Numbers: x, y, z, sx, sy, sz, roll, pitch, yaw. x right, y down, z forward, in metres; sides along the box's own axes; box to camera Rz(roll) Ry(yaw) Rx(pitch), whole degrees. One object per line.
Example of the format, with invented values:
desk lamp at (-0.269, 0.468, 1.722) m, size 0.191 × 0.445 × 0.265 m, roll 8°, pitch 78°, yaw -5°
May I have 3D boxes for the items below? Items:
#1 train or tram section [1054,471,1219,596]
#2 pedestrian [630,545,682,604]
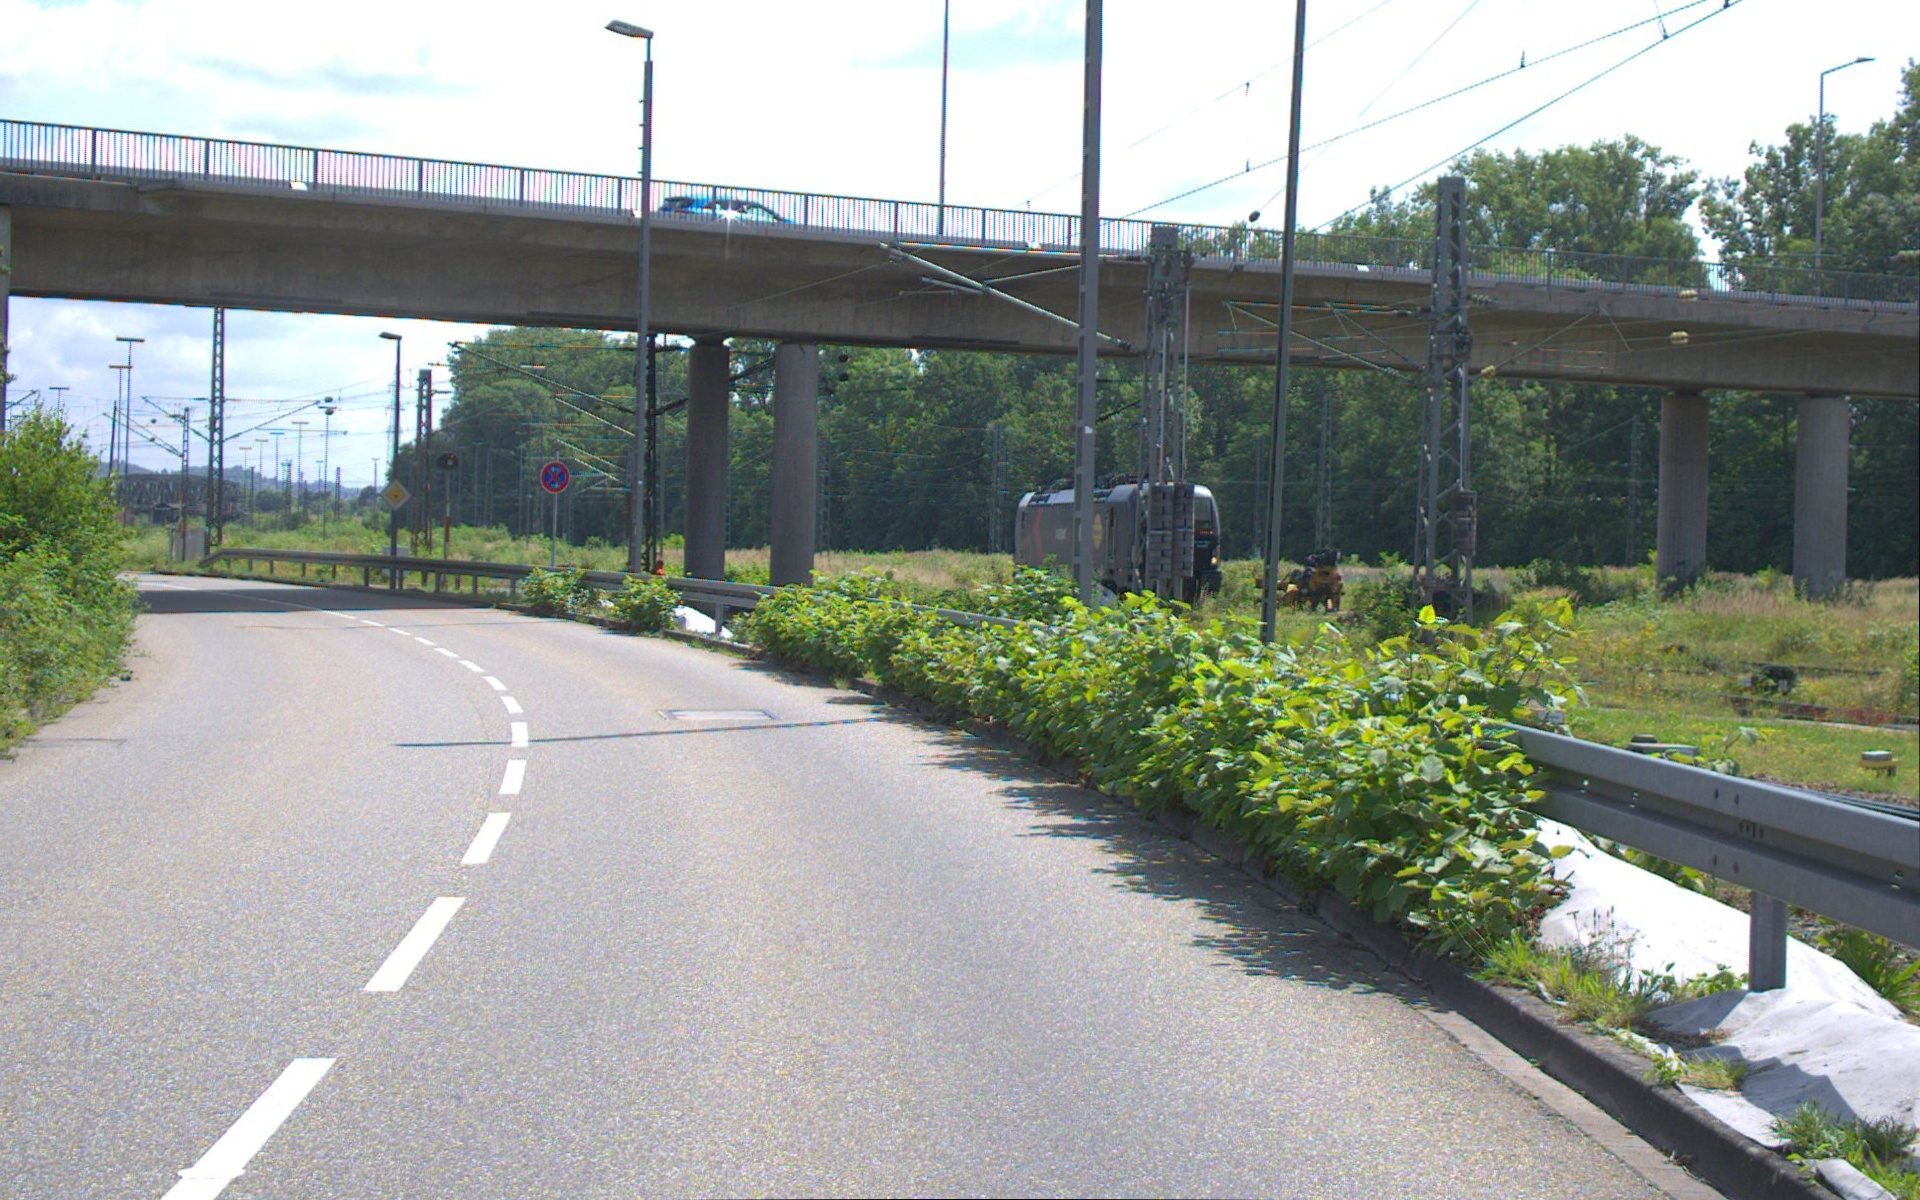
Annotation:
train or tram section at (5.180, -1.951, 102.846) m, size 2.889 × 3.497 × 8.568 m, roll 1°, pitch 0°, yaw -11°
pedestrian at (-7.984, -0.671, 90.267) m, size 1.110 × 1.534 × 1.580 m, roll 1°, pitch 0°, yaw -14°
